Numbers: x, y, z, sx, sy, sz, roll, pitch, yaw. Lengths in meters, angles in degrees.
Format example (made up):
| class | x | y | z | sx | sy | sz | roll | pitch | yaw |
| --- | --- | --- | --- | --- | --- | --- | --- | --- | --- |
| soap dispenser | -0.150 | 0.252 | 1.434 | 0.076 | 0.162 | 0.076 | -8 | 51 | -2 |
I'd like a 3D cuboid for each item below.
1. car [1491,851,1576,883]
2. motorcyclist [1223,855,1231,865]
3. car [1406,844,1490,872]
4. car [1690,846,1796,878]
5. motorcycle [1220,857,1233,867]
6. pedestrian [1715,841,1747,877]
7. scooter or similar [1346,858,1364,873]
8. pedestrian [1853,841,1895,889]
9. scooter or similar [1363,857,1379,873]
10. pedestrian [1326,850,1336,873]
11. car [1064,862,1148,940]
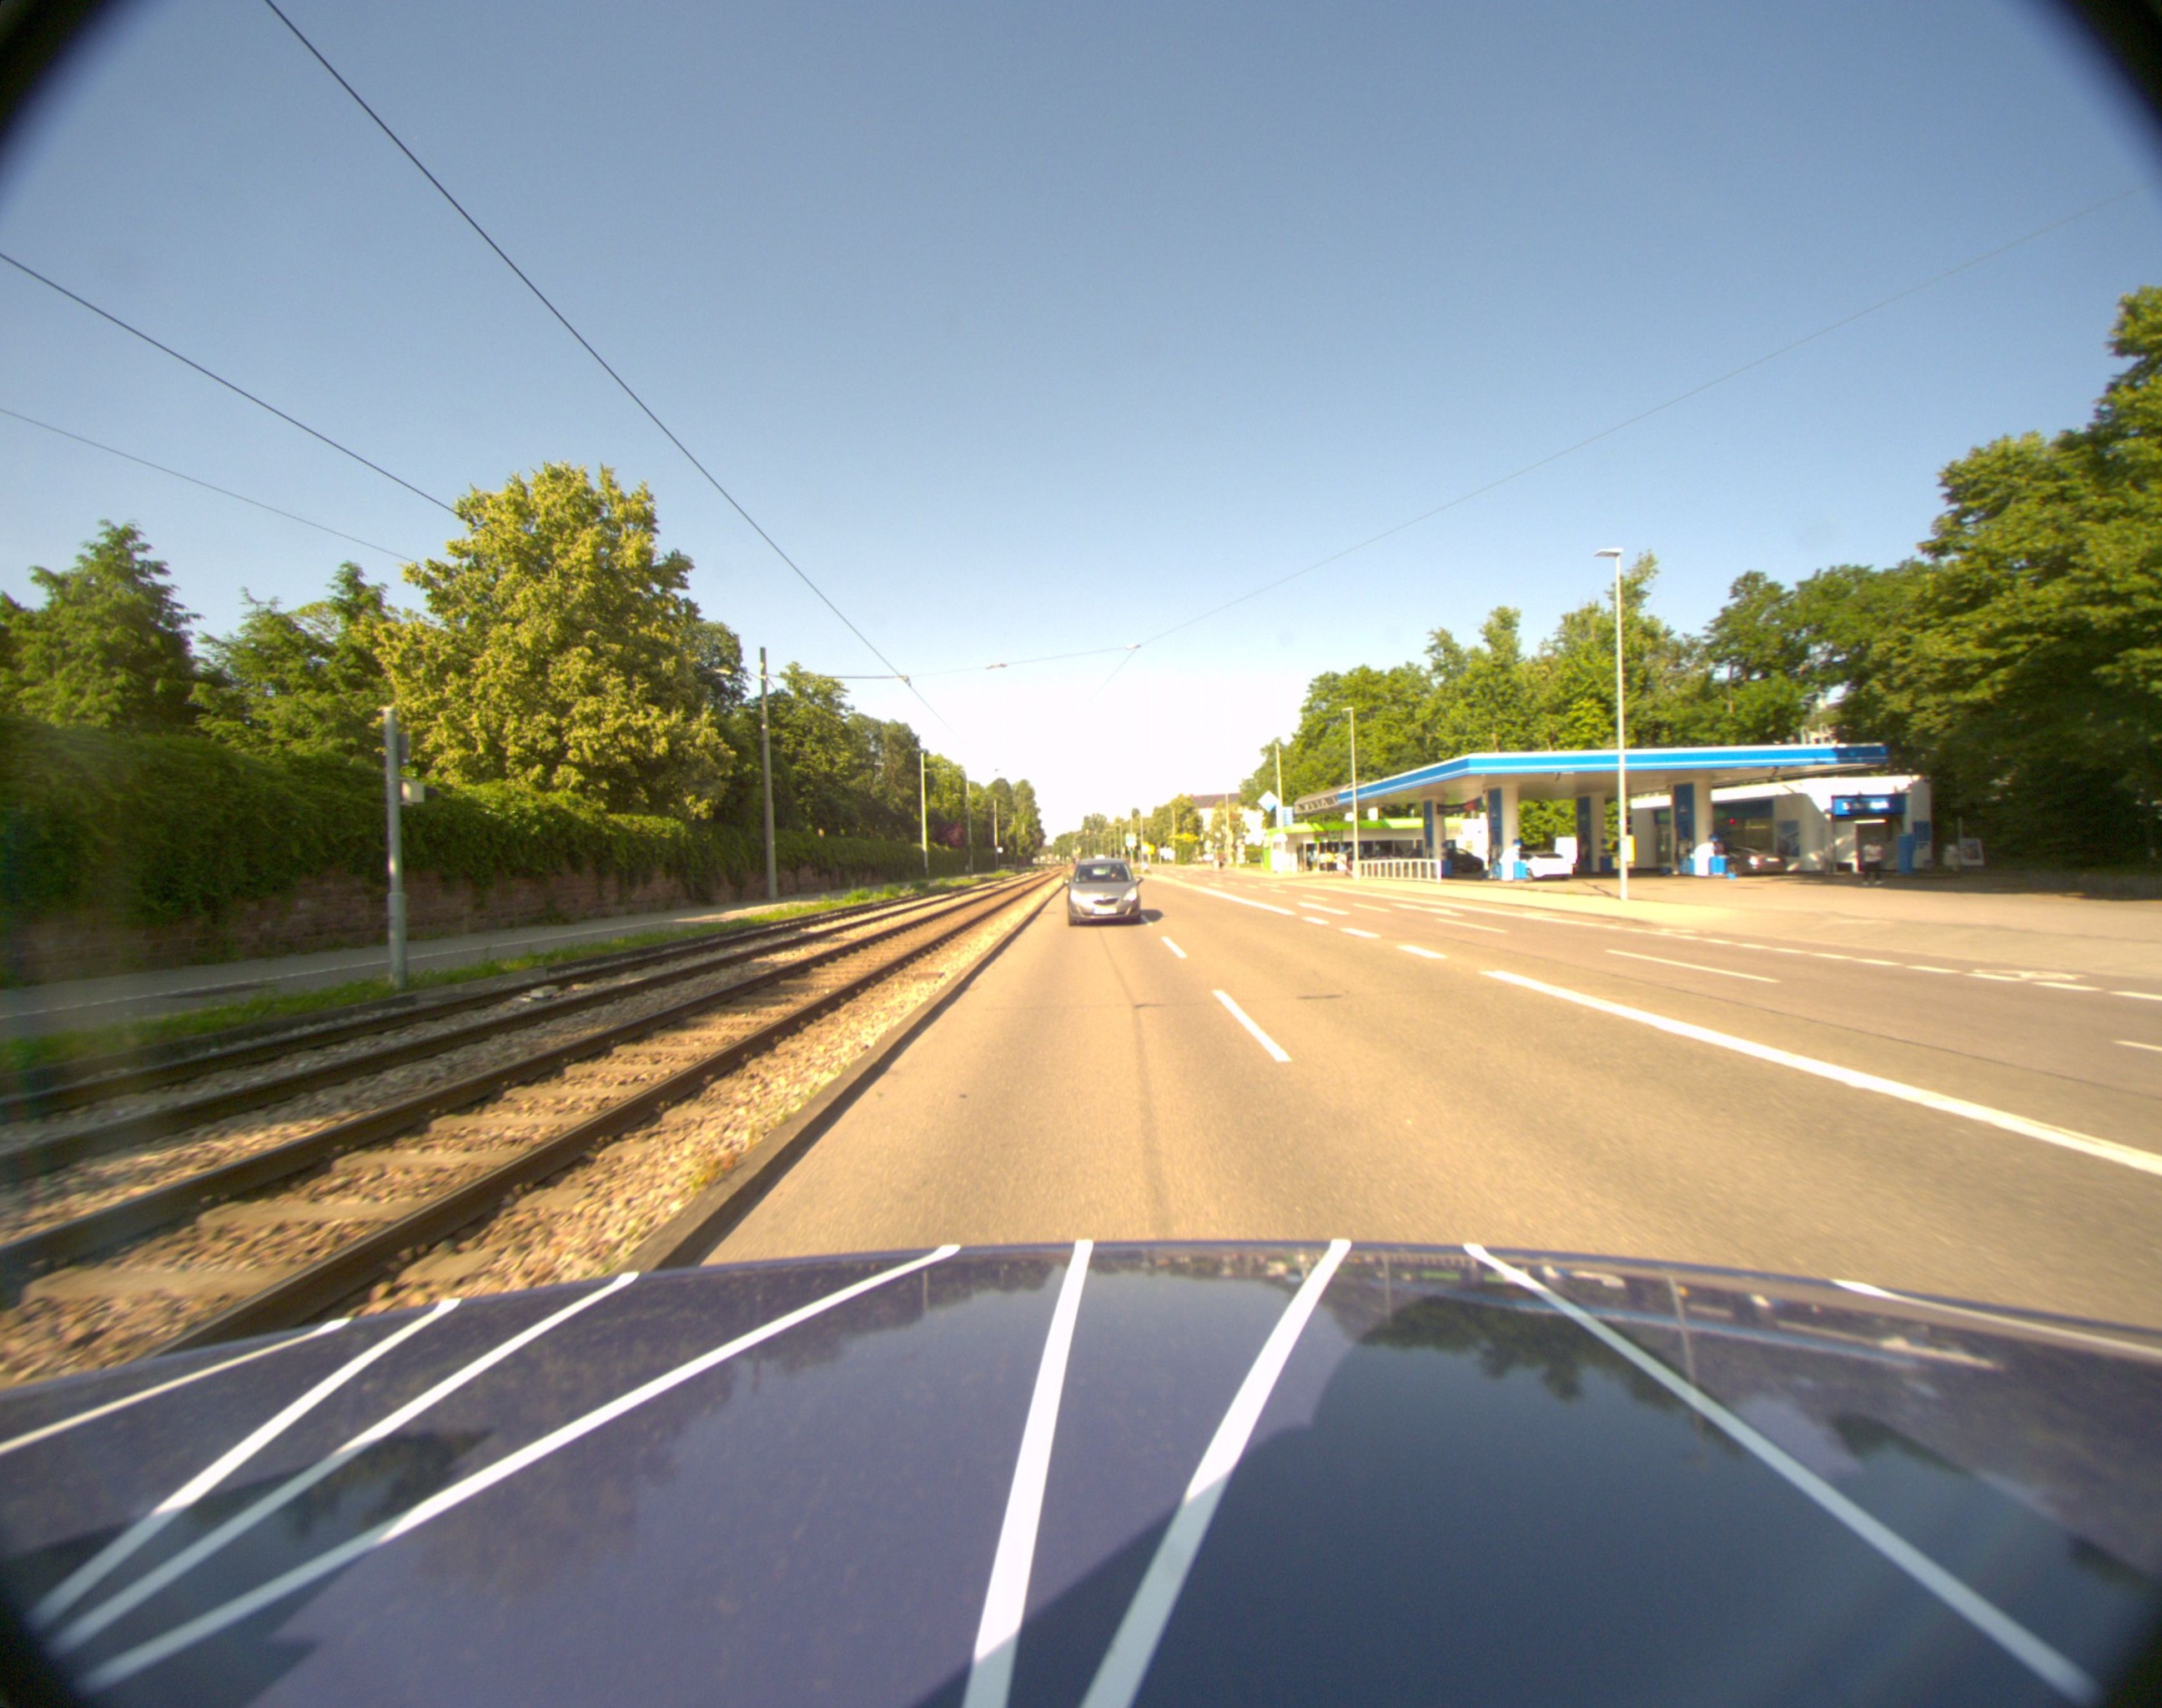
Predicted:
| class | x | y | z | sx | sy | sz | roll | pitch | yaw |
| --- | --- | --- | --- | --- | --- | --- | --- | --- | --- |
| car | 22.352 | 0.602 | 37.711 | 1.741 | 1.482 | 4.275 | -1 | 0 | 2 |
| motorcyclist | 18.852 | 0.764 | 98.363 | 0.732 | 1.380 | 0.866 | -1 | 0 | 34 |
| car | 26.260 | 0.278 | 54.550 | 5.081 | 1.929 | 1.858 | -1 | 0 | 5 |
| car | 31.696 | 0.378 | 36.533 | 1.740 | 1.437 | 4.001 | -1 | 0 | 4 |
| motorcycle | 18.864 | 1.024 | 98.368 | 0.732 | 1.220 | 2.268 | -1 | 0 | 34 |
| pedestrian | 30.807 | 0.253 | 36.029 | 0.818 | 1.680 | 0.795 | -1 | 0 | 1 |
| scooter or similar | 20.045 | 0.824 | 55.600 | 1.143 | 1.110 | 0.350 | -1 | 0 | 10 |
| pedestrian | 28.905 | 0.384 | 27.715 | 0.822 | 1.702 | 1.068 | -1 | 0 | 31 |
| scooter or similar | 21.162 | 0.800 | 55.488 | 1.031 | 1.103 | 0.350 | -1 | 0 | 8 |
| pedestrian | 19.148 | 0.548 | 58.195 | 0.603 | 1.721 | 0.664 | -1 | 0 | 22 |
| car | 0.553 | 1.000 | 17.757 | 1.730 | 1.574 | 3.763 | -1 | 0 | 1 |
